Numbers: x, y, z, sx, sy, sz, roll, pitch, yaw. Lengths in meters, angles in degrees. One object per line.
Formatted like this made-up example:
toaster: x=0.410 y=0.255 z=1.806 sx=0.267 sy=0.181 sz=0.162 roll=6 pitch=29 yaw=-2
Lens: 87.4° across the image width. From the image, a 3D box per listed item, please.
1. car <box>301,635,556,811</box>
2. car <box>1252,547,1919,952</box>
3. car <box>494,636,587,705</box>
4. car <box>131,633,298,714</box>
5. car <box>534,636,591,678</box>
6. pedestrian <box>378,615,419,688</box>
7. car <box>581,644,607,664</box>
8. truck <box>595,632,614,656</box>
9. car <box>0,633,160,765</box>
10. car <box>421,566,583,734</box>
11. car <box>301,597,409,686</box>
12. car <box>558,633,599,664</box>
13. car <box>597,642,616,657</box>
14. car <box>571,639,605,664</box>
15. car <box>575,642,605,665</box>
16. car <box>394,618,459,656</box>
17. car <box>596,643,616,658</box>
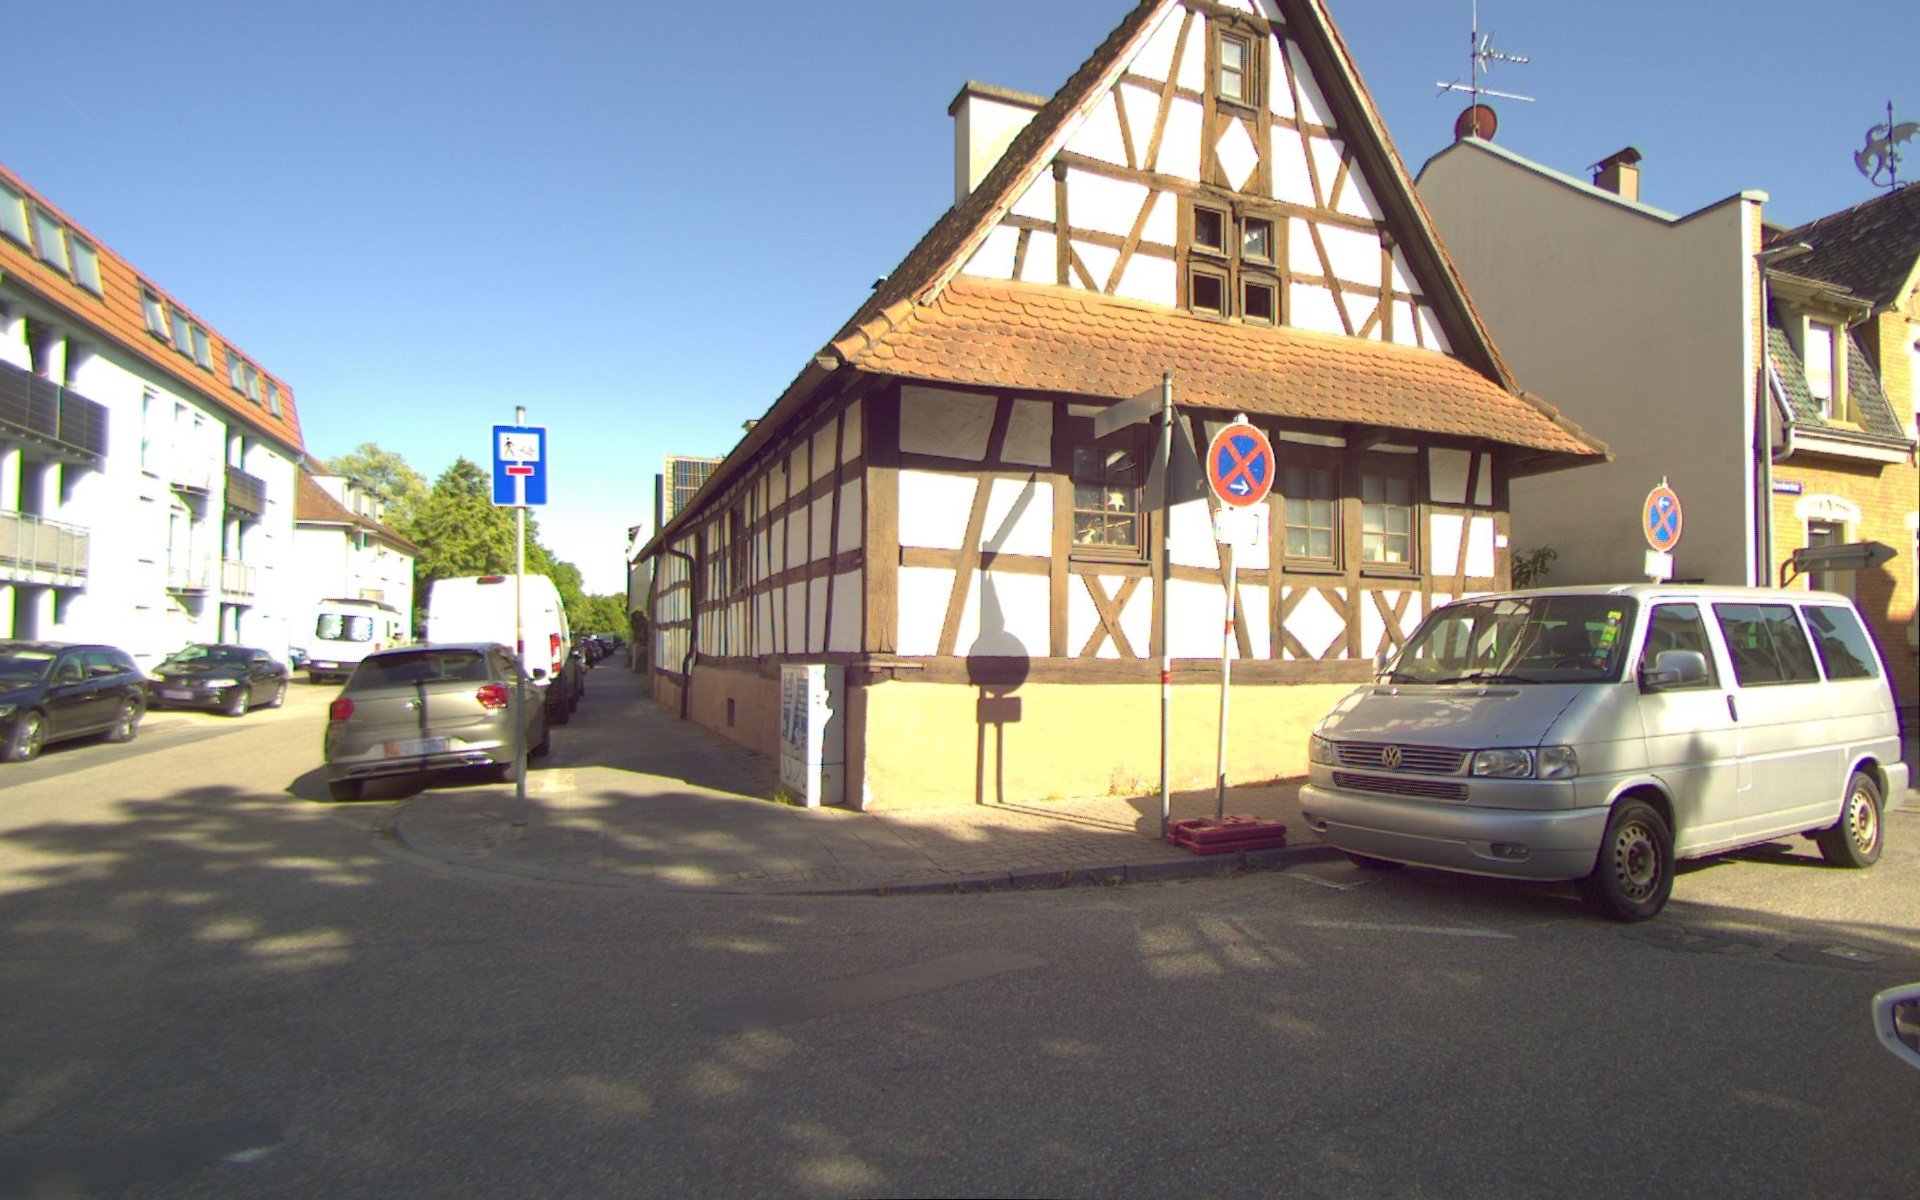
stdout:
car: x=-5.572 y=1.197 z=11.045 sx=1.829 sy=1.466 sz=3.916 roll=-2 pitch=-2 yaw=-19
car: x=4.384 y=0.820 z=6.774 sx=4.779 sy=1.905 sz=1.867 roll=2 pitch=-4 yaw=-30
car: x=-10.341 y=1.720 z=25.006 sx=1.829 sy=1.466 sz=3.916 roll=-2 pitch=-2 yaw=-19
car: x=-16.298 y=1.614 z=22.242 sx=1.863 sy=1.511 sz=4.808 roll=5 pitch=-5 yaw=-24
car: x=-15.508 y=2.208 z=39.363 sx=1.829 sy=1.466 sz=3.916 roll=-2 pitch=-2 yaw=-19
pedestrian: x=-16.152 y=1.470 z=28.927 sx=0.885 sy=2.040 sz=1.151 roll=2 pitch=0 yaw=-25
car: x=-29.410 y=4.322 z=80.822 sx=1.829 sy=1.466 sz=3.916 roll=-2 pitch=-2 yaw=-19
truck: x=-39.707 y=4.915 z=112.166 sx=1.829 sy=2.502 sz=4.522 roll=-2 pitch=-2 yaw=-19
car: x=-12.914 y=1.248 z=13.743 sx=1.689 sy=1.564 sz=4.001 roll=4 pitch=-4 yaw=-18
car: x=-8.357 y=0.905 z=18.848 sx=2.141 sy=2.600 sz=5.444 roll=-2 pitch=-2 yaw=-19
car: x=-19.821 y=1.436 z=33.152 sx=2.087 sy=2.635 sz=4.812 roll=5 pitch=-5 yaw=-22
car: x=-19.888 y=2.565 z=52.490 sx=1.829 sy=1.466 sz=3.916 roll=-2 pitch=-2 yaw=-19
car: x=-37.394 y=5.205 z=106.291 sx=1.829 sy=1.466 sz=3.916 roll=-2 pitch=-2 yaw=-19
car: x=-23.595 y=3.291 z=63.832 sx=1.829 sy=1.466 sz=3.916 roll=-2 pitch=-2 yaw=-19
car: x=-25.798 y=3.732 z=70.163 sx=1.829 sy=1.466 sz=3.916 roll=-2 pitch=-2 yaw=-19
car: x=-24.970 y=1.792 z=47.171 sx=1.860 sy=1.511 sz=4.816 roll=4 pitch=-5 yaw=-19
car: x=-35.627 y=5.089 z=101.126 sx=1.829 sy=1.466 sz=3.916 roll=-2 pitch=-2 yaw=-19
